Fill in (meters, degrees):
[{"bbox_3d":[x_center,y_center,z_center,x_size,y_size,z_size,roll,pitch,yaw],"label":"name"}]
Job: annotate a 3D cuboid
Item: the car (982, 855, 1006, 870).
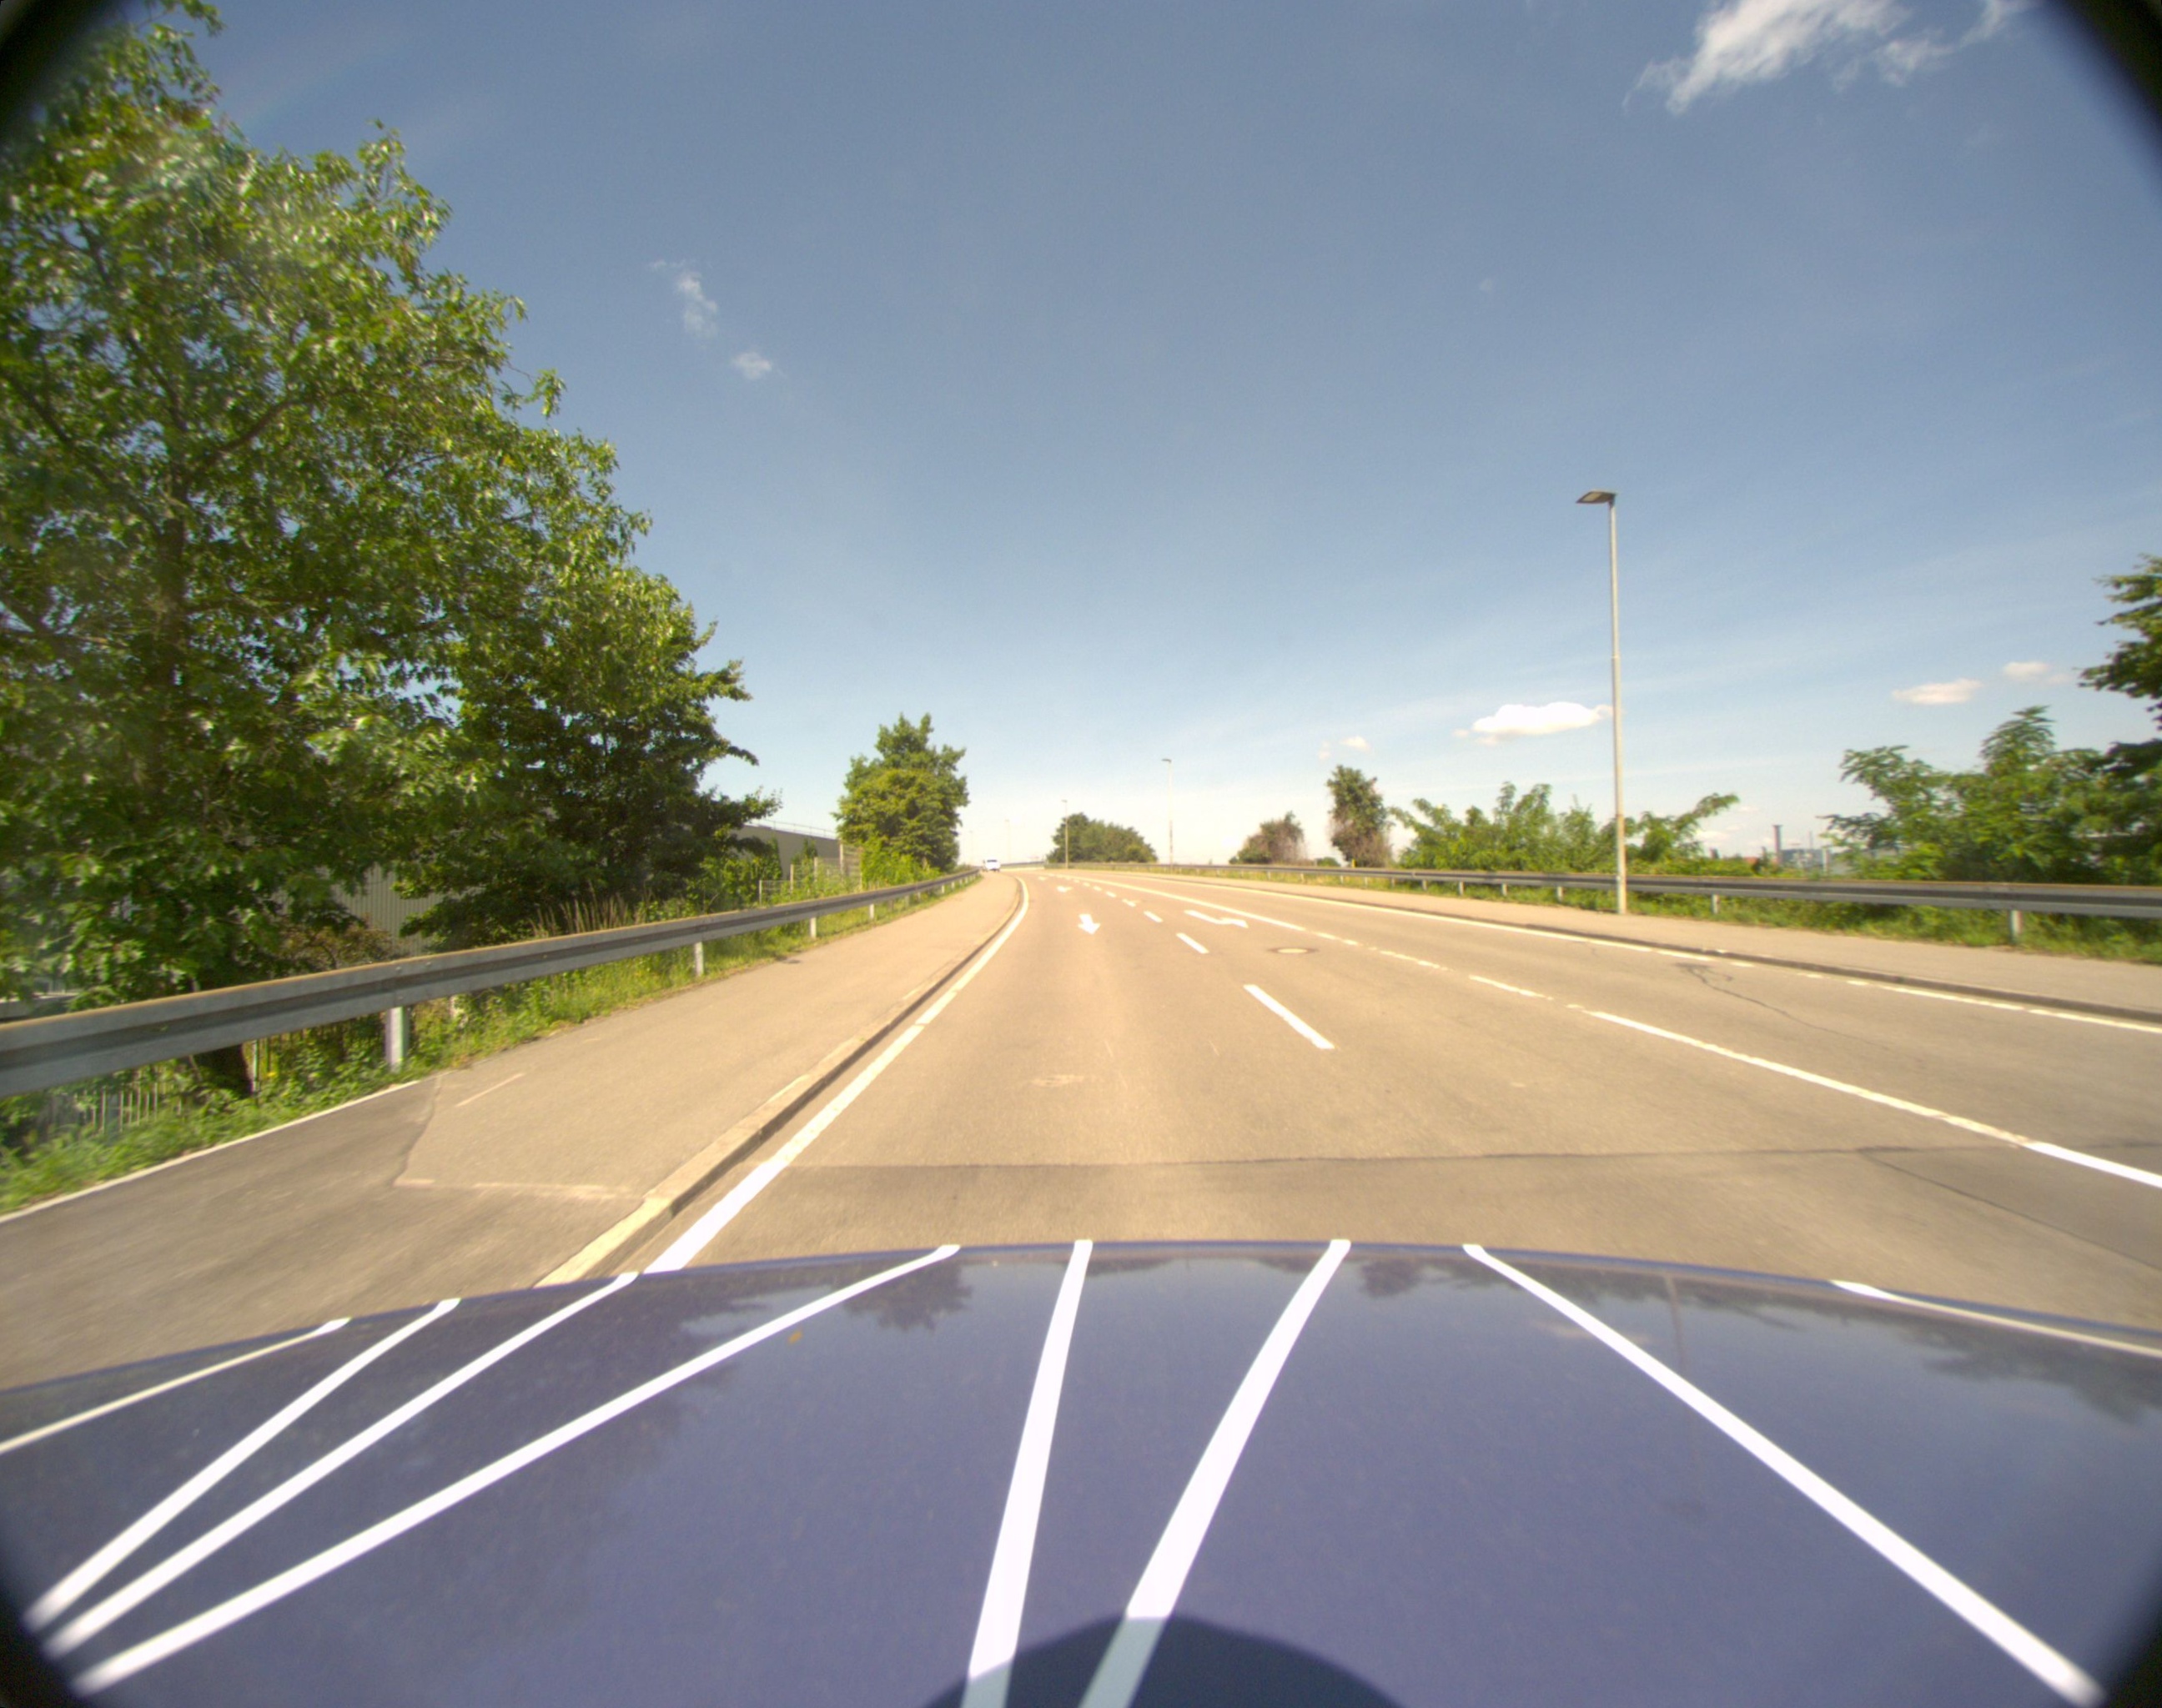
[{"bbox_3d":[-11.549,1.172,100.827,2.096,1.750,4.276,-3,-1,-21],"label":"car"}]
